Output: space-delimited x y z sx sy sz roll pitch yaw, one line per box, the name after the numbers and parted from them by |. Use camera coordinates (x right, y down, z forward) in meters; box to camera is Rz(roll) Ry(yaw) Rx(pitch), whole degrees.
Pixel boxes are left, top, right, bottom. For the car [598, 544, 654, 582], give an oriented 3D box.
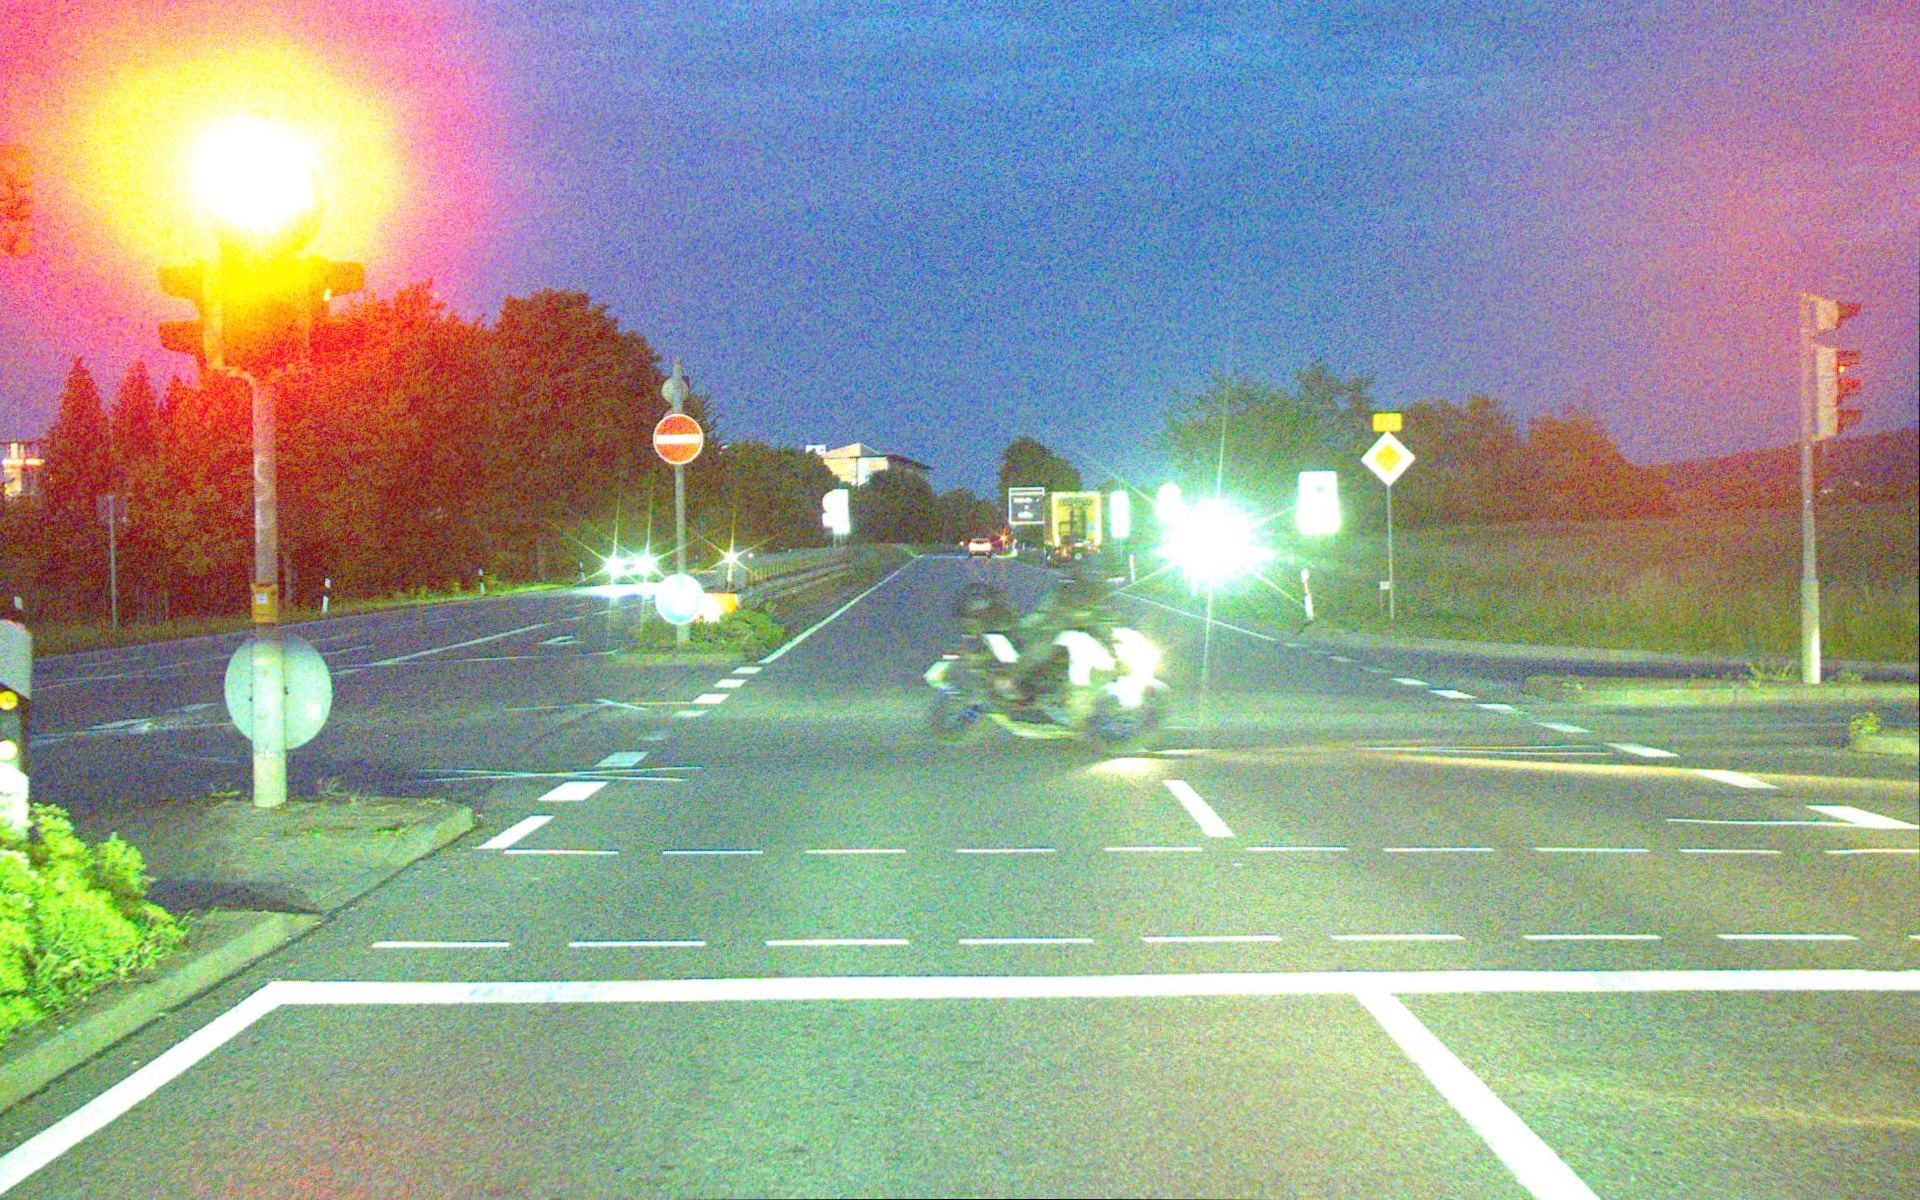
-13.988 -1.561 144.162 1.993 1.514 4.298 -1 1 -1 | car

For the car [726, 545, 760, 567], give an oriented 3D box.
-14.051 -2.841 222.651 1.993 1.382 4.000 -1 1 -1 | car

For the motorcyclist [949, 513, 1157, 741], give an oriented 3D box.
0.674 0.180 24.762 0.972 1.579 1.138 0 1 39 | motorcyclist

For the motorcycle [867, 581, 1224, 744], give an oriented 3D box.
0.593 0.428 24.759 2.506 1.095 0.980 0 2 41 | motorcycle
